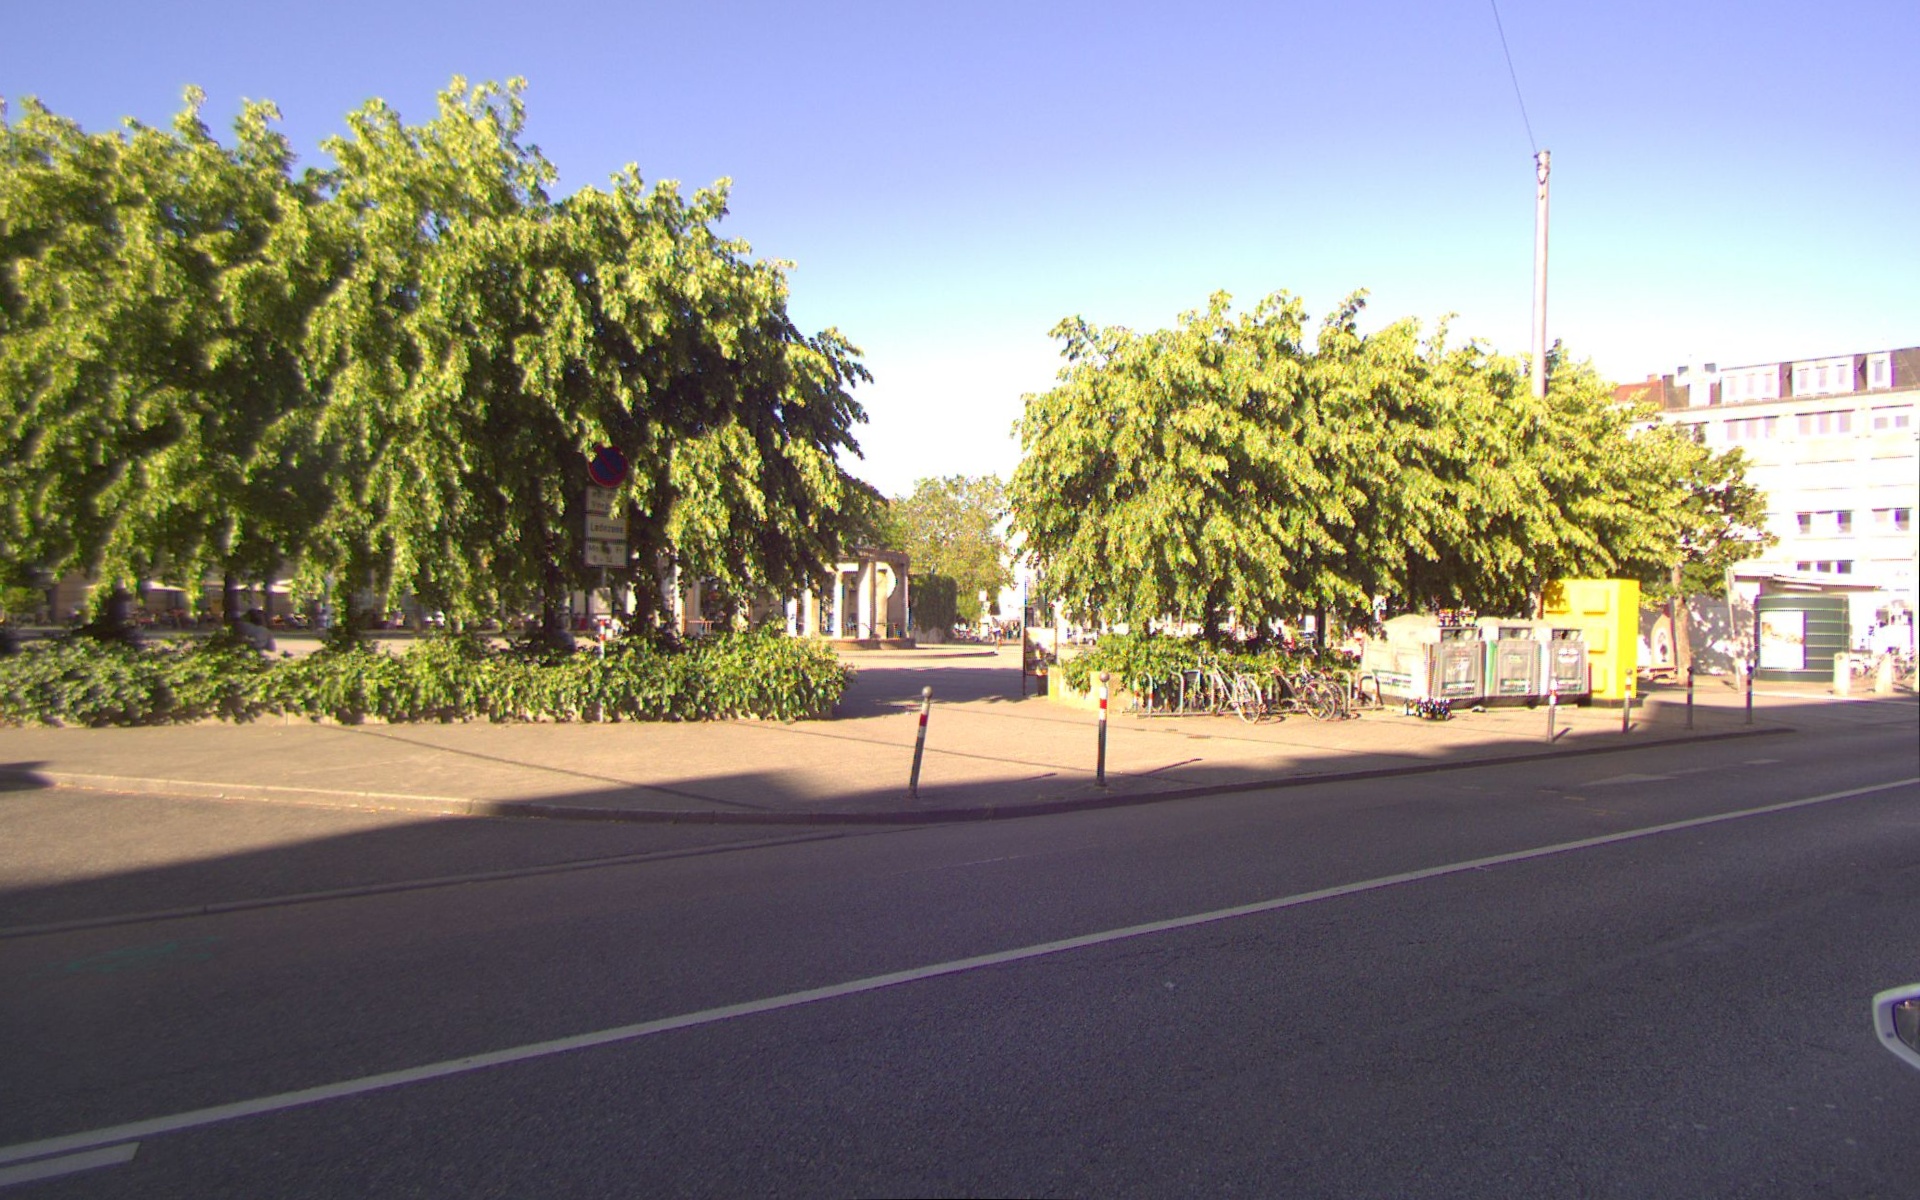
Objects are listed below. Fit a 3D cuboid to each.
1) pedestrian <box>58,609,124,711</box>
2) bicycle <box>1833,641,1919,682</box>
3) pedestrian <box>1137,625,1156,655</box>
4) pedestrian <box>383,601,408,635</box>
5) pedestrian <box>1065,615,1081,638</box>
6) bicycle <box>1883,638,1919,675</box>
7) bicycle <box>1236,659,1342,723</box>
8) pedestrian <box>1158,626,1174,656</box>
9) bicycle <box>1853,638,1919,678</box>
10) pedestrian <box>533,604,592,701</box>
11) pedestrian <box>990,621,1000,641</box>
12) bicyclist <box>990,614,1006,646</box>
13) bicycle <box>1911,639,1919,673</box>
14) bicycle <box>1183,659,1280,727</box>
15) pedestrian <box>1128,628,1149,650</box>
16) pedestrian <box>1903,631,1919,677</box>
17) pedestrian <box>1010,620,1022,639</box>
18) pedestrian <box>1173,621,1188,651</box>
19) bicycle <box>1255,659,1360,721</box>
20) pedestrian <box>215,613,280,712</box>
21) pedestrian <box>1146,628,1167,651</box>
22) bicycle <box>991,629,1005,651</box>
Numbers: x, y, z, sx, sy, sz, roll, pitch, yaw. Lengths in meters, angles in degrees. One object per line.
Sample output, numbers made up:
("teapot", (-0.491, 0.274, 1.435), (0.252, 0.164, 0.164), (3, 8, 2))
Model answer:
("pedestrian", (-12.863, 0.869, 14.885), (0.615, 1.456, 0.647), (2, 0, -32))
("bicycle", (31.216, 2.063, 33.764), (0.932, 1.211, 2.645), (2, 0, -32))
("pedestrian", (10.023, 2.134, 53.991), (0.904, 1.541, 0.936), (2, 0, 15))
("pedestrian", (-25.830, 0.826, 45.982), (0.682, 1.550, 0.738), (2, 0, 35))
("pedestrian", (9.400, 2.204, 83.444), (1.274, 1.867, 1.103), (2, 0, 8))
("bicycle", (35.257, 2.084, 36.133), (0.932, 1.287, 2.859), (2, 0, -32))
("bicycle", (5.270, 1.442, 16.186), (0.465, 0.870, 1.659), (2, 0, -35))
("pedestrian", (10.900, 2.143, 53.166), (0.761, 1.541, 0.838), (2, 0, 6))
("bicycle", (33.138, 2.039, 35.067), (0.923, 1.291, 2.764), (2, 0, -32))
("pedestrian", (-6.538, 0.845, 16.515), (0.688, 1.541, 0.676), (2, 0, -41))
("pedestrian", (3.654, 3.265, 104.614), (0.836, 2.040, 0.855), (2, 0, 10))
("bicyclist", (2.109, 1.679, 55.870), (0.772, 1.722, 0.896), (2, 0, 7))
("bicycle", (37.241, 2.155, 37.277), (0.932, 1.276, 2.648), (2, 0, -32))
("bicycle", (4.170, 1.409, 15.527), (0.464, 0.897, 1.558), (2, 0, -29))
("pedestrian", (10.022, 2.187, 56.477), (0.855, 1.230, 0.933), (2, 0, -15))
("pedestrian", (34.509, 1.932, 35.754), (1.077, 1.633, 1.264), (2, 0, 32))
("pedestrian", (5.616, 2.932, 100.407), (0.891, 1.845, 0.952), (2, 0, 17))
("pedestrian", (11.658, 1.901, 53.124), (0.598, 1.528, 0.557), (2, 0, -15))
("bicycle", (5.668, 1.452, 16.481), (0.465, 0.870, 1.654), (2, 0, -35))
("pedestrian", (-10.856, 0.932, 15.302), (0.581, 1.456, 0.615), (2, 0, 33))
("pedestrian", (11.203, 2.253, 57.214), (0.885, 1.230, 0.864), (2, 0, -15))
("bicycle", (2.111, 2.211, 56.008), (0.593, 1.116, 1.990), (2, 0, 6))
